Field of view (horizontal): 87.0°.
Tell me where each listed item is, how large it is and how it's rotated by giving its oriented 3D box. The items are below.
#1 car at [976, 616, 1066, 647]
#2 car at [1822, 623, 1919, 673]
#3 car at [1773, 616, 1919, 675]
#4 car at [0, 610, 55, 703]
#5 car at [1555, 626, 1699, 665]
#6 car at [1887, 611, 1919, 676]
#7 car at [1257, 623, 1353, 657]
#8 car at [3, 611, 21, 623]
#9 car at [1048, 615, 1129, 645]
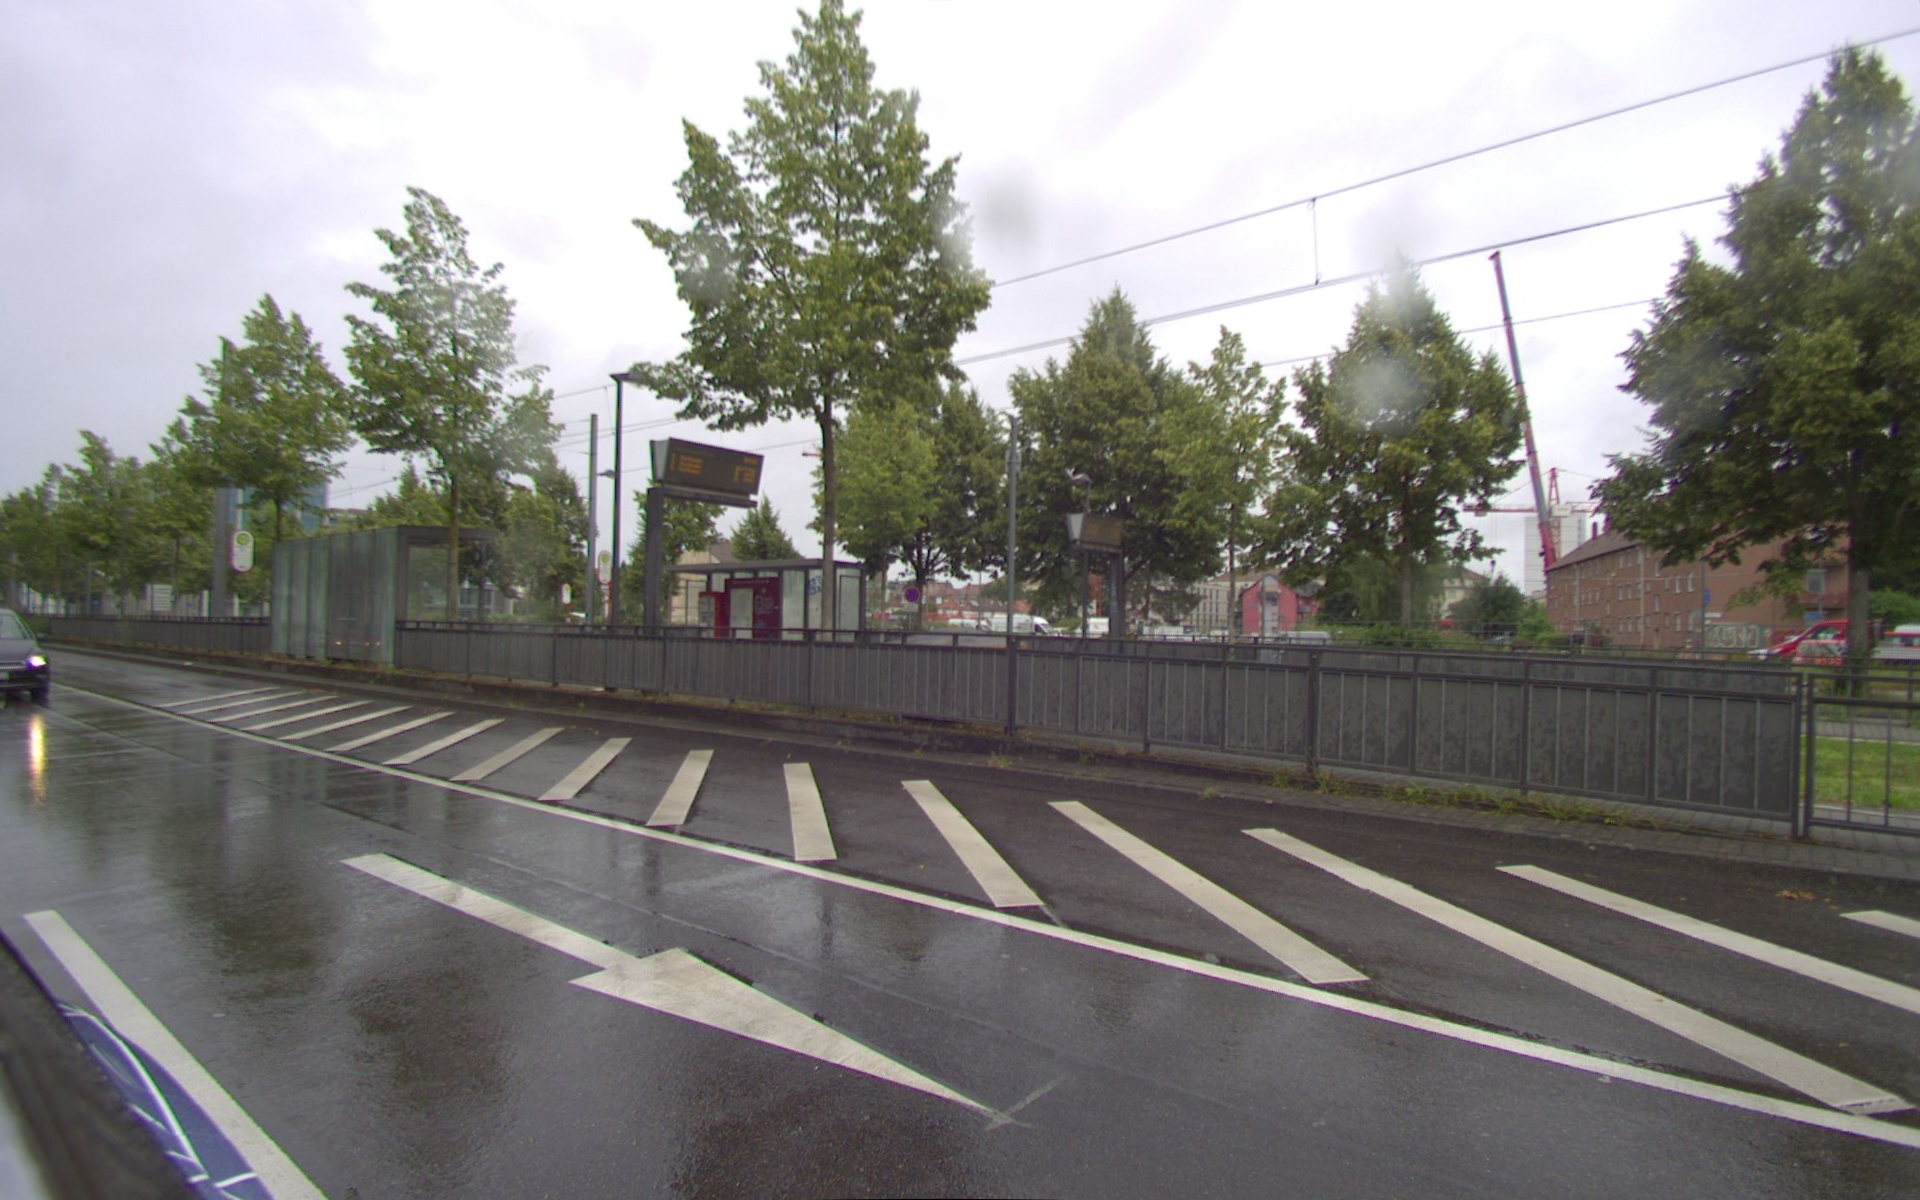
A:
[{"bbox_3d":[5.119,2.660,86.085,7.627,2.495,2.327,-1,0,38],"label":"car"},{"bbox_3d":[40.030,1.979,41.737,2.319,2.029,6.440,2,-3,-38],"label":"car"},{"bbox_3d":[34.706,1.669,37.780,2.319,2.029,6.441,-1,0,-38],"label":"car"},{"bbox_3d":[-17.686,0.960,17.927,4.326,1.529,1.766,-1,0,38],"label":"car"},{"bbox_3d":[36.986,2.484,56.407,6.393,2.029,2.336,-1,0,26],"label":"car"},{"bbox_3d":[46.064,1.985,45.271,2.319,2.961,6.441,-1,0,-38],"label":"car"},{"bbox_3d":[26.545,3.038,77.925,6.804,2.495,2.335,0,-2,28],"label":"car"},{"bbox_3d":[-163.489,2.988,174.514,3.999,2.029,1.972,-1,0,42],"label":"car"},{"bbox_3d":[11.291,2.578,89.193,6.826,2.495,2.470,-1,0,38],"label":"car"}]
